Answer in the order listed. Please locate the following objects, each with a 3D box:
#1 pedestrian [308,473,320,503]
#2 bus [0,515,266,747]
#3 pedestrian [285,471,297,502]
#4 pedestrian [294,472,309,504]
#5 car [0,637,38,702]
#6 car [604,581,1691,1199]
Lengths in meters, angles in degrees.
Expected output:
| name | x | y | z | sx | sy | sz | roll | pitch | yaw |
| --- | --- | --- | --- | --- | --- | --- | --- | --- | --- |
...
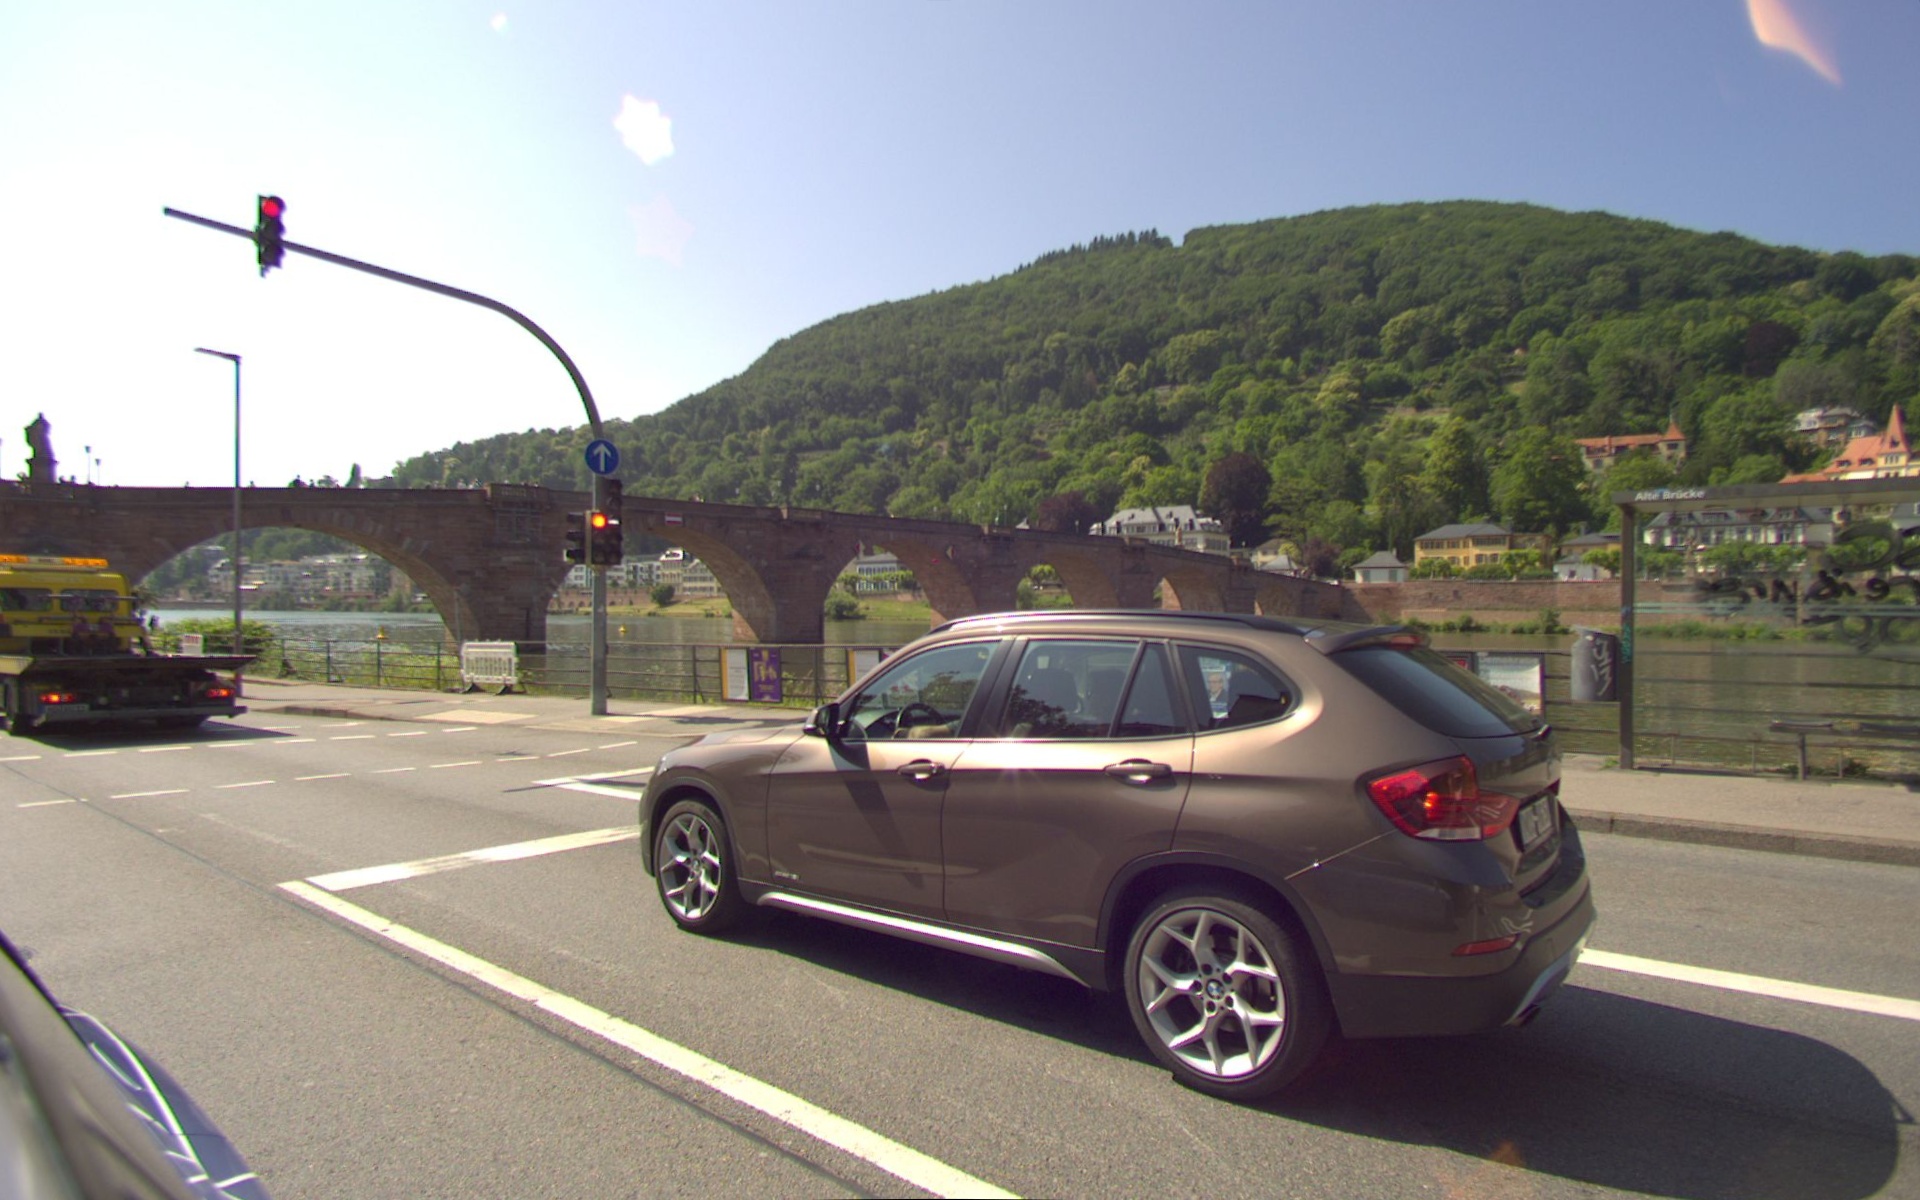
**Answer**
| name | x | y | z | sx | sy | sz | roll | pitch | yaw |
| --- | --- | --- | --- | --- | --- | --- | --- | --- | --- |
| pedestrian | -44.590 | -7.727 | 69.890 | 0.638 | 2.029 | 0.462 | 1 | -1 | 39 |
| bus | -14.308 | 0.601 | 16.365 | 8.433 | 2.919 | 2.572 | -3 | -4 | 38 |
| pedestrian | -45.597 | -7.760 | 69.002 | 0.638 | 2.029 | 0.462 | 1 | -1 | 39 |
| pedestrian | -45.165 | -7.678 | 69.404 | 0.625 | 2.029 | 0.686 | 1 | -1 | 39 |
| car | -22.792 | 1.571 | 23.153 | 4.351 | 1.417 | 1.791 | -2 | -2 | 38 |
| car | 0.426 | 0.759 | 4.422 | 4.343 | 1.409 | 1.796 | -2 | -3 | 40 |
